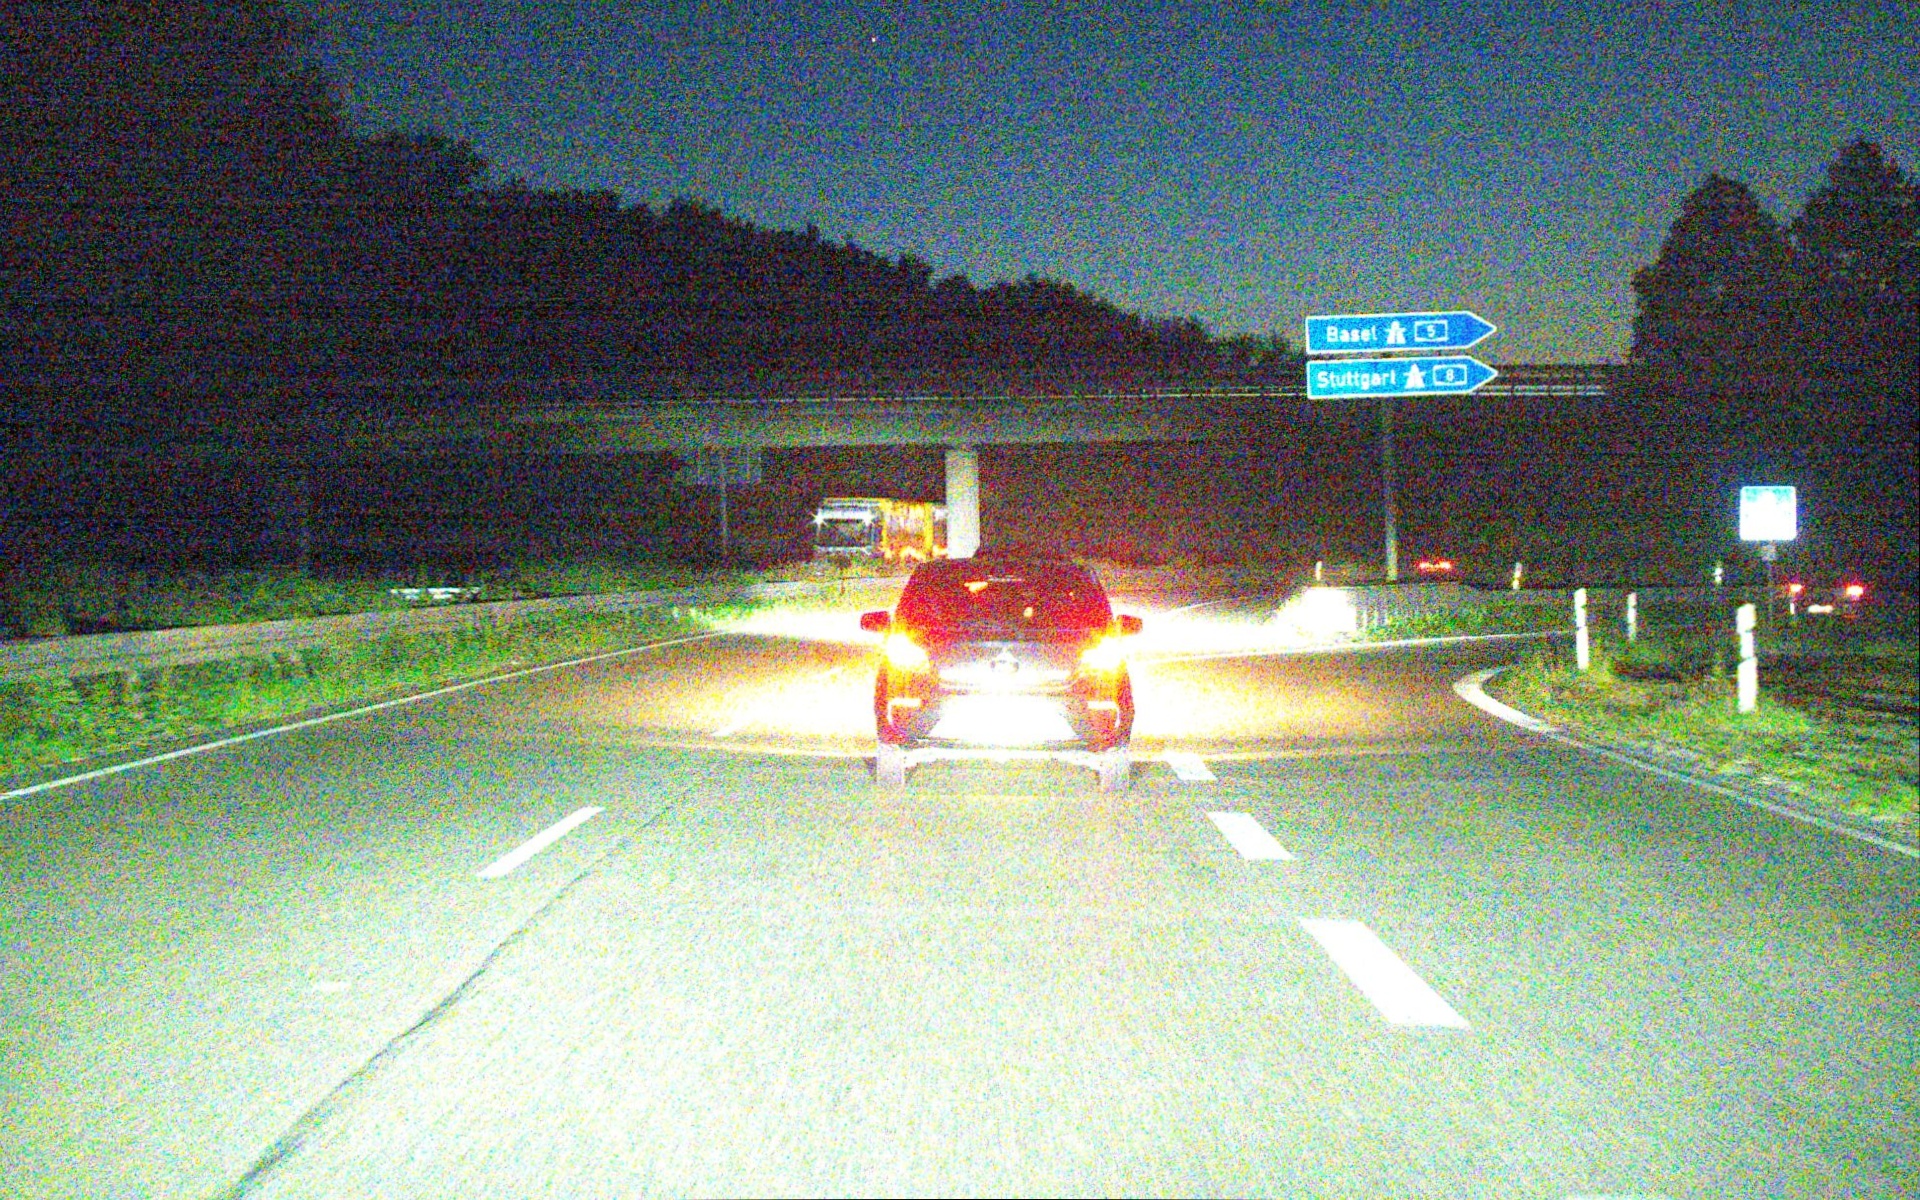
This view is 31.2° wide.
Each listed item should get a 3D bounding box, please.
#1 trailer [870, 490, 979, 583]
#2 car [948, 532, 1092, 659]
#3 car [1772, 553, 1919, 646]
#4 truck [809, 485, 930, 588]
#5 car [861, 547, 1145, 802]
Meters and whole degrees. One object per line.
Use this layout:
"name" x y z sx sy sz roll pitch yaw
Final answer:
"trailer" -1.505 -2.774 150.638 2.719 3.943 9.042 0 1 13
"car" 0.865 -0.096 47.778 1.906 1.692 4.000 0 1 2
"car" 18.676 -0.037 70.129 4.252 1.809 1.938 -1 1 -39
"truck" -3.623 -2.593 140.946 2.682 4.030 10.649 0 1 11
"car" 0.204 0.419 22.750 1.588 1.503 4.001 1 1 -3
